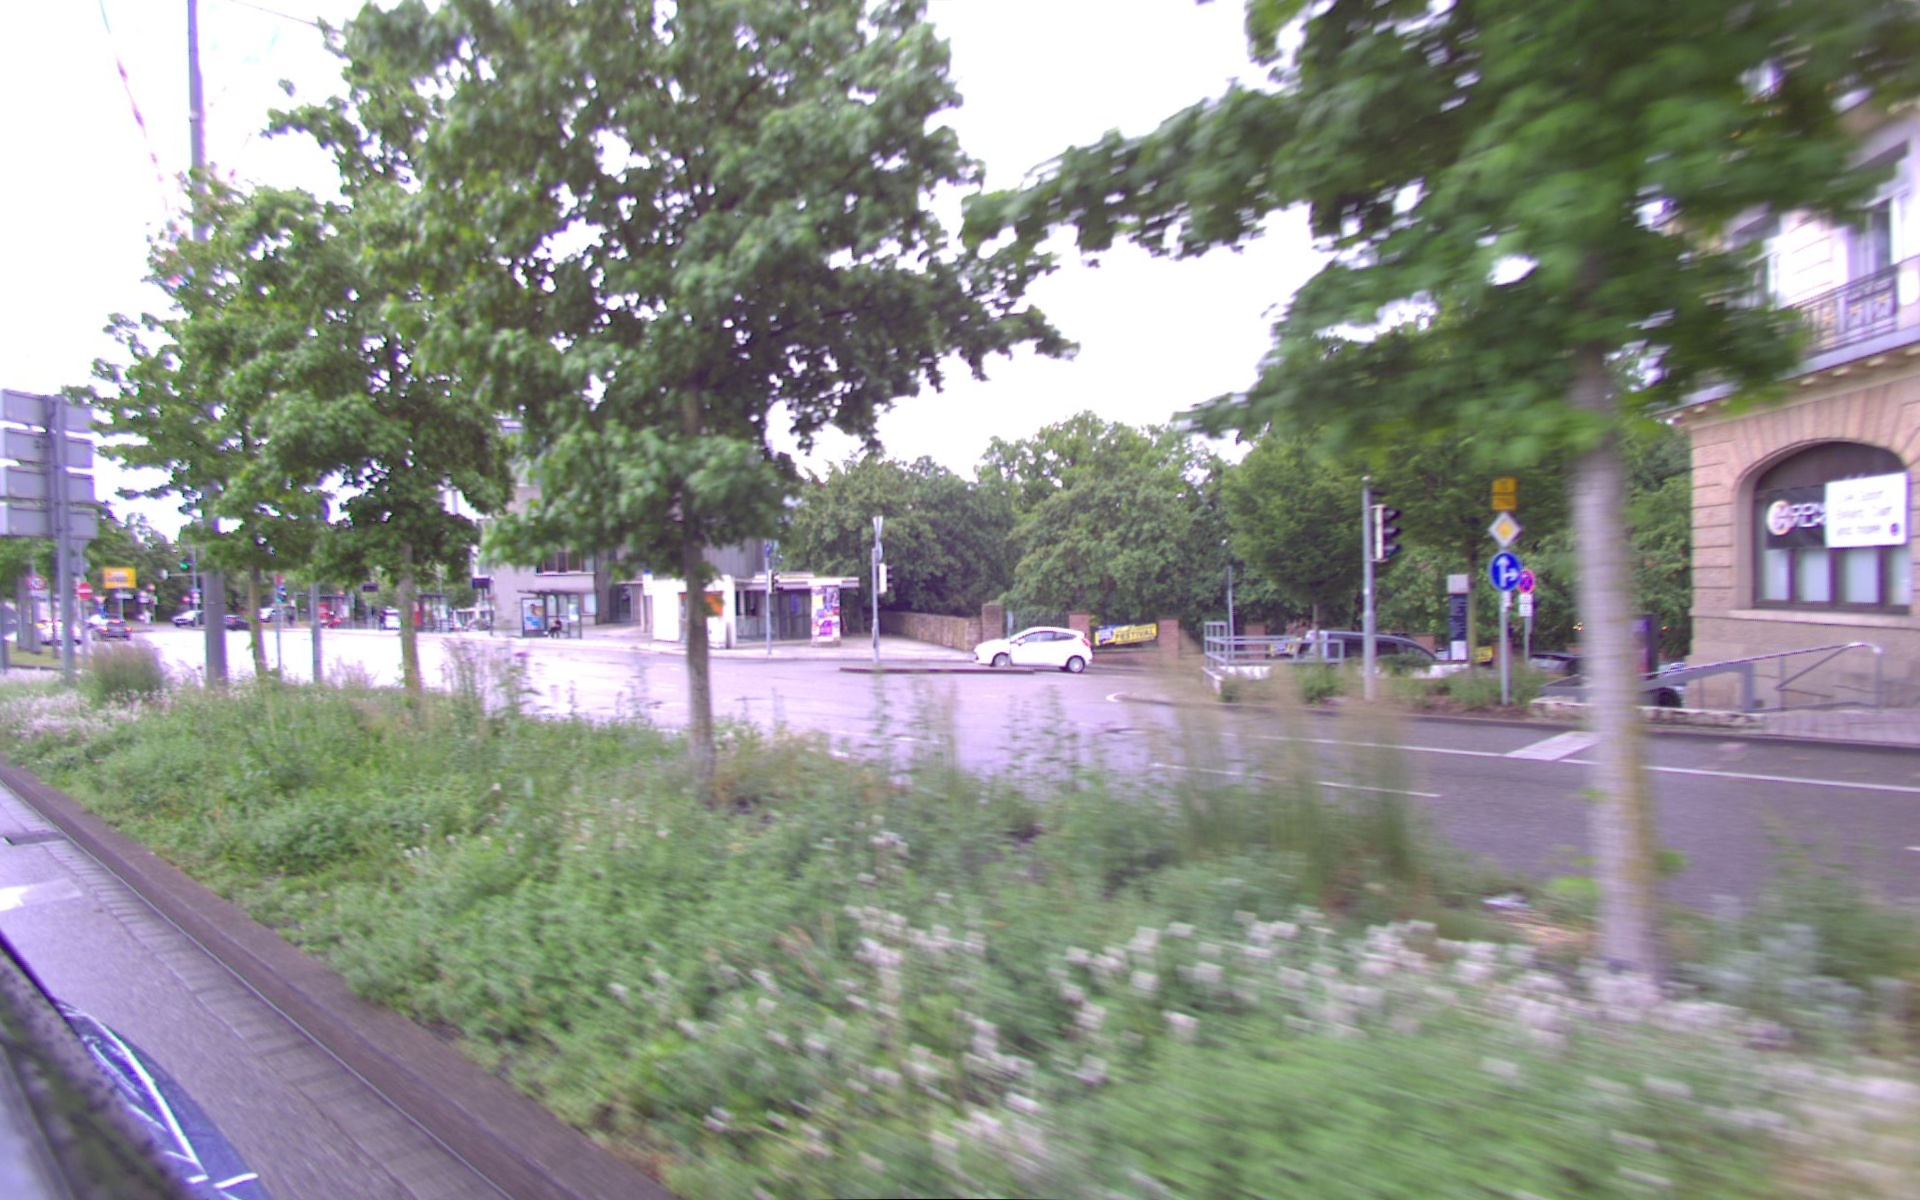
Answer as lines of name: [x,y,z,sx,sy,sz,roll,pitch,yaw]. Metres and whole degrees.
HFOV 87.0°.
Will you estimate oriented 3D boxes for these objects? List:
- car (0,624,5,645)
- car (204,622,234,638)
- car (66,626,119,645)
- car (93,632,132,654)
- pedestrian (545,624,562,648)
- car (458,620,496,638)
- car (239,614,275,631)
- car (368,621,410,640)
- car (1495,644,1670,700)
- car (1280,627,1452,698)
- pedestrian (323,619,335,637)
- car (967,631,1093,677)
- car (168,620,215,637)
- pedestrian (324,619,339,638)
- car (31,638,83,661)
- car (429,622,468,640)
car: [-79.320,2.781,81.228,1.847,1.646,4.165,0,-2,-9]
car: [-69.605,2.817,95.020,3.865,1.524,1.658,-1,-2,45]
car: [-81.738,3.374,95.444,1.865,1.726,4.225,1,-1,-9]
car: [-60.287,3.008,71.964,4.454,1.477,1.675,-1,-2,45]
pedestrian: [-22.631,2.006,56.371,0.659,1.309,0.720,2,-2,-44]
car: [-45.993,2.762,96.504,1.849,1.715,4.161,1,-1,-4]
car: [-82.127,2.654,118.315,1.967,1.896,4.009,1,-2,-11]
car: [-53.951,2.870,95.753,1.849,1.715,4.161,1,-1,-4]
car: [17.103,1.955,27.889,3.936,1.409,1.638,0,-1,-8]
car: [10.801,1.640,27.028,3.936,1.772,1.638,0,-1,-8]
pedestrian: [-52.051,2.326,83.507,0.722,1.501,0.735,2,-2,-41]
car: [2.279,1.771,33.458,3.939,1.409,1.637,1,-2,-5]
car: [-77.468,2.859,102.095,1.865,1.726,4.224,1,-1,-7]
pedestrian: [-51.395,2.312,82.766,0.969,1.501,0.735,2,-2,-39]
car: [-57.133,3.116,64.036,4.163,1.363,1.984,-1,-2,42]
car: [-48.466,2.909,96.032,1.849,1.715,4.161,0,-1,-4]
